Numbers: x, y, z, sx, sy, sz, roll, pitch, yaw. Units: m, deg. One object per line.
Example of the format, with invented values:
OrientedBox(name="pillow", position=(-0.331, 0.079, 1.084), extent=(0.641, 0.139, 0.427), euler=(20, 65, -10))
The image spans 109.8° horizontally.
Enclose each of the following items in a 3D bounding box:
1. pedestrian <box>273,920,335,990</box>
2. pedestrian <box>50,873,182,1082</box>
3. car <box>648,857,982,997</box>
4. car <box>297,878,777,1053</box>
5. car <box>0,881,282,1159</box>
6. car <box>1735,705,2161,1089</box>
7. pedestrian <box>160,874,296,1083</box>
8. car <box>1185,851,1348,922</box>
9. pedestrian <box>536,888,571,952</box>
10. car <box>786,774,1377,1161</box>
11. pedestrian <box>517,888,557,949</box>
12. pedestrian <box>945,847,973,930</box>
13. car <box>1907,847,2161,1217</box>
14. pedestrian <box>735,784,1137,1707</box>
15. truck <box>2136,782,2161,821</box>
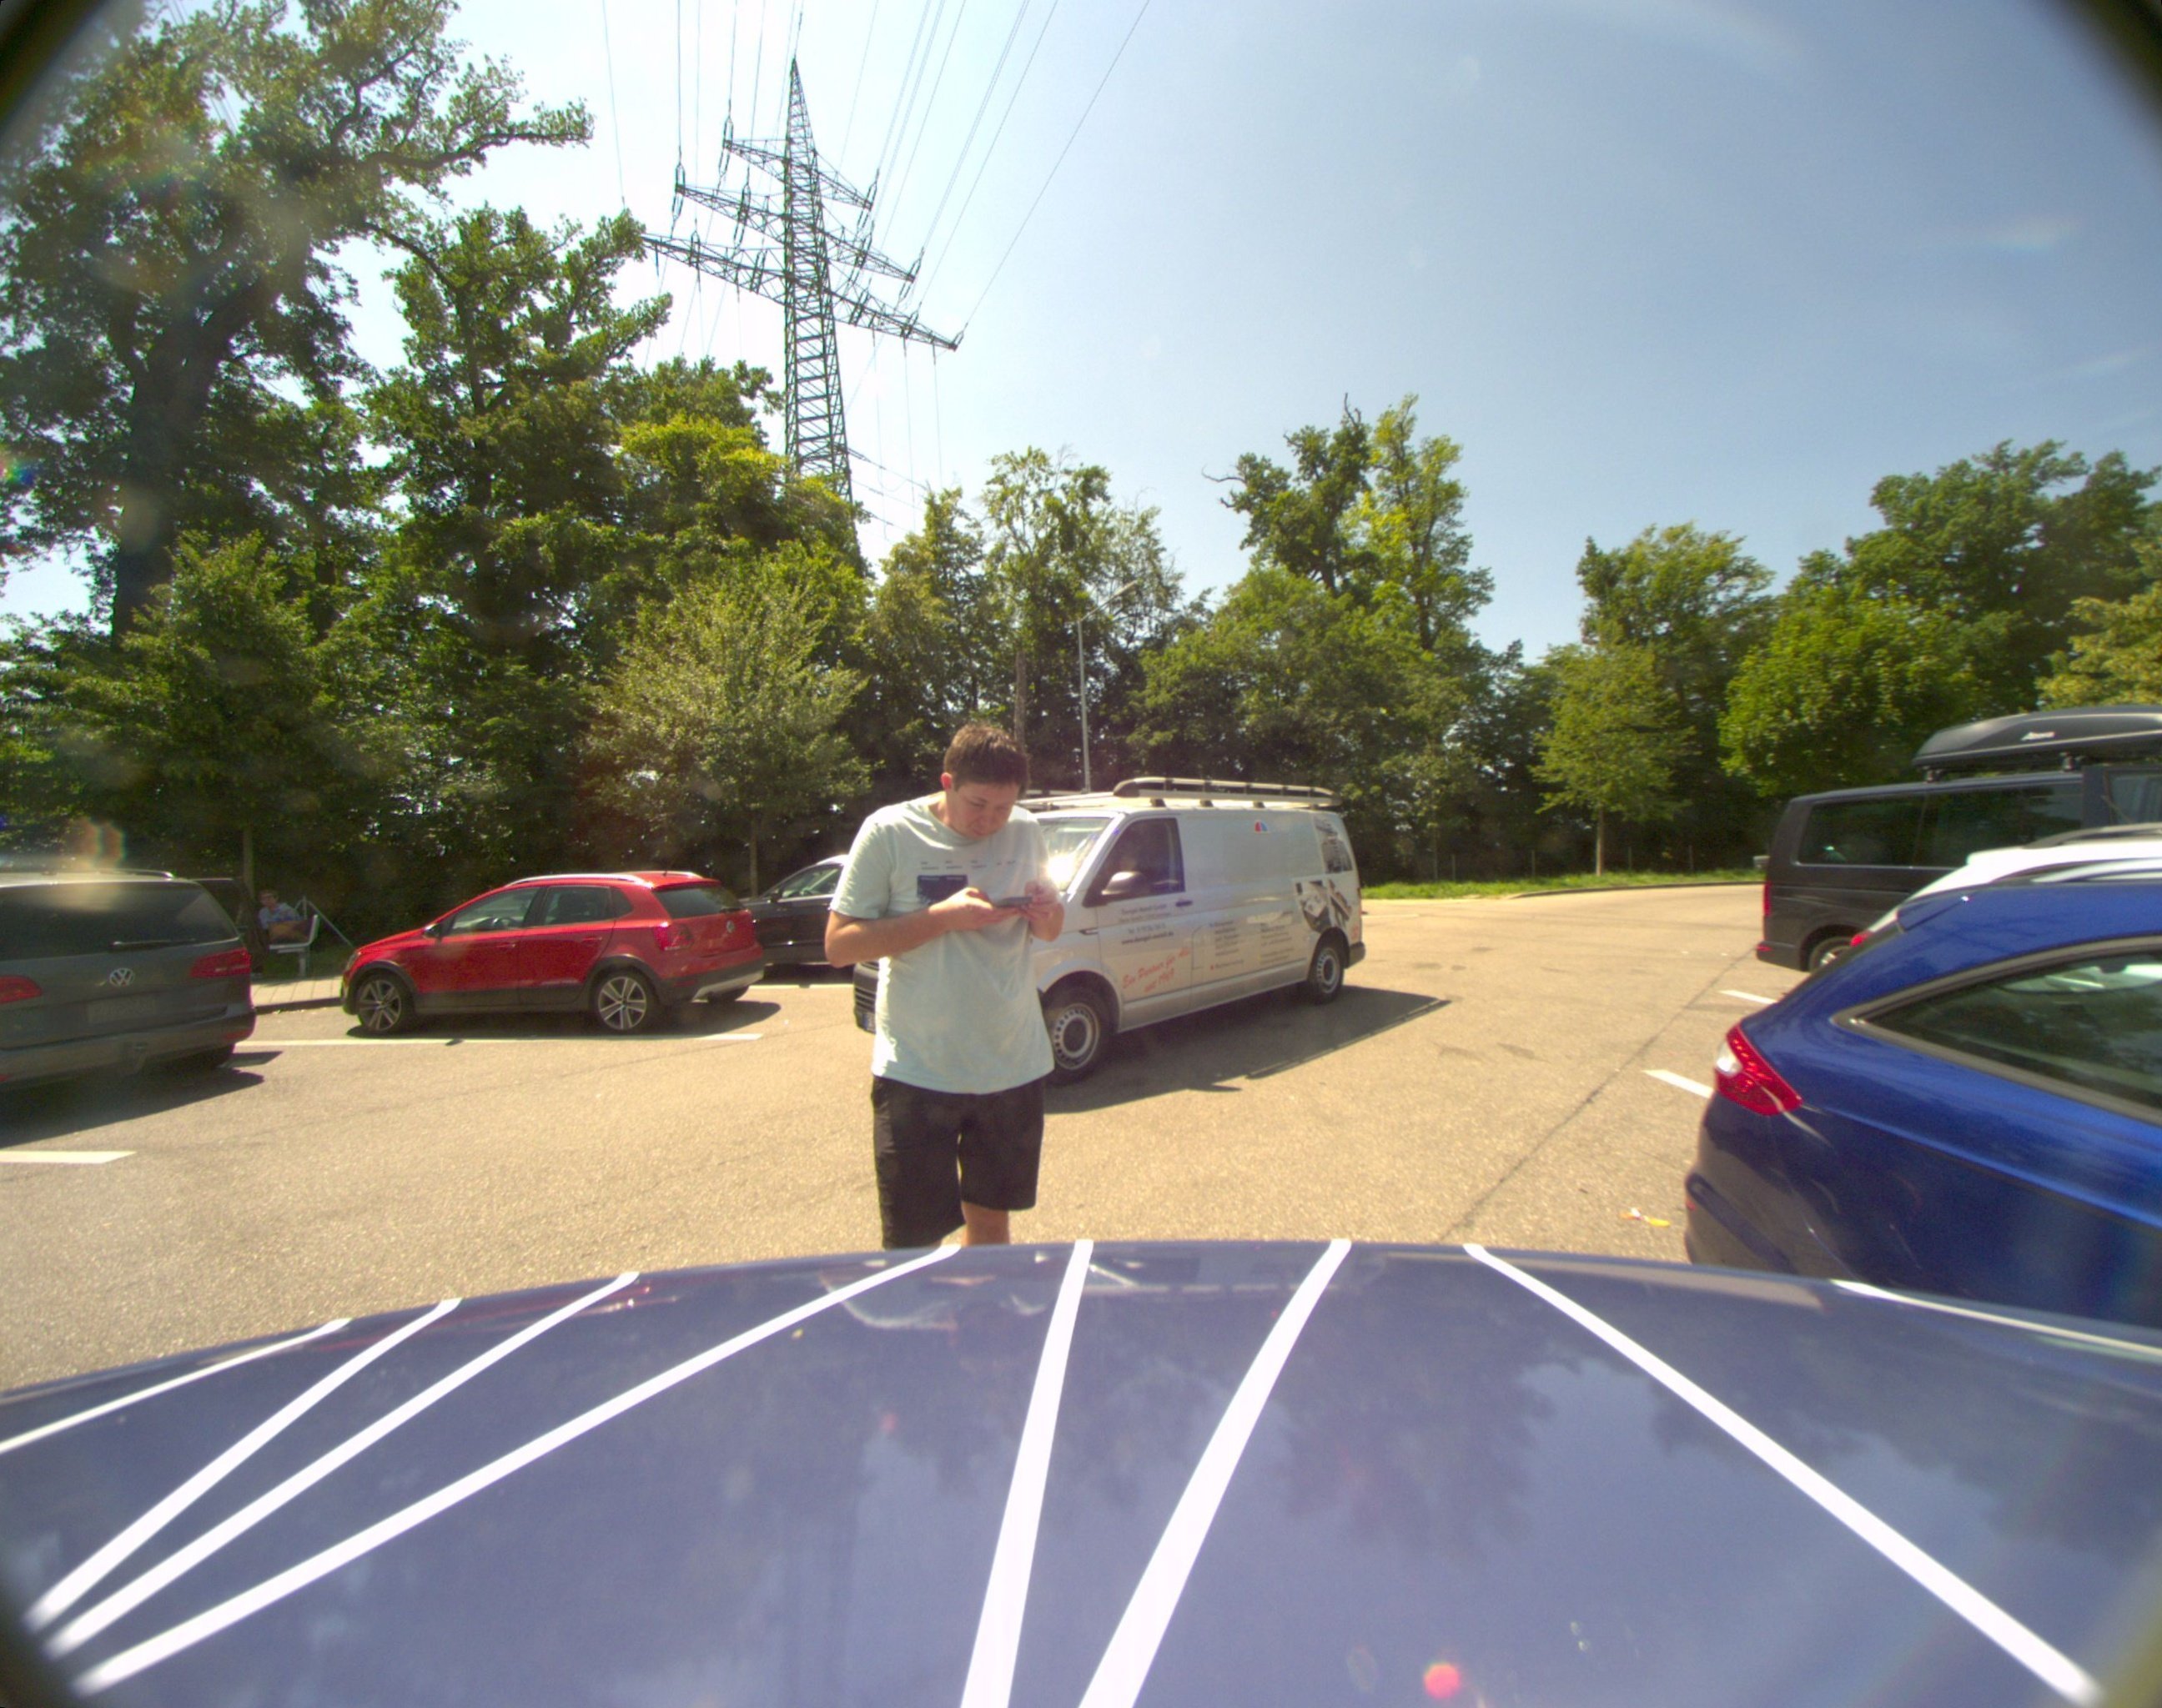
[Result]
OrientedBox(name="pedestrian", position=(-10.793, 1.385, 10.567), extent=(0.503, 0.874, 0.512), euler=(-3, 1, -39))
OrientedBox(name="pedestrian", position=(-8.355, 1.040, 6.592), extent=(0.436, 1.712, 0.511), euler=(-2, 1, 17))
OrientedBox(name="car", position=(-3.411, 0.919, 10.278), extent=(3.866, 1.607, 1.709), euler=(-2, 0, 0))
OrientedBox(name="car", position=(-5.268, 1.046, 7.621), extent=(3.745, 1.458, 1.621), euler=(-2, 0, 7))
OrientedBox(name="car", position=(-8.343, 1.098, 5.442), extent=(3.903, 1.607, 1.705), euler=(-2, 1, 11))
OrientedBox(name="car", position=(7.299, 0.243, 5.233), extent=(1.788, 2.304, 4.084), euler=(-2, 0, -5))
OrientedBox(name="pedestrian", position=(-7.453, 1.047, 6.653), extent=(0.481, 1.712, 0.589), euler=(-2, 1, 22))
OrientedBox(name="car", position=(4.312, 0.743, 18.134), extent=(3.585, 1.493, 1.707), euler=(-2, 1, 8))
OrientedBox(name="pedestrian", position=(-10.117, 1.265, 14.581), extent=(0.366, 1.186, 0.356), euler=(-2, 1, 21))
OrientedBox(name="car", position=(0.504, 0.578, 6.676), extent=(5.445, 2.092, 1.839), euler=(-2, 1, -45))
OrientedBox(name="pedestrian", position=(-11.015, 1.292, 15.378), extent=(0.413, 1.186, 0.443), euler=(-2, 1, 12))
OrientedBox(name="pedestrian", position=(-2.931, 0.807, 18.190), extent=(0.573, 1.942, 0.430), euler=(-2, 0, -11))
OrientedBox(name="car", position=(4.688, 0.655, 2.133), extent=(1.344, 1.352, 3.114), euler=(-2, 0, 1))
OrientedBox(name="pedestrian", position=(-0.373, 0.777, 1.889), extent=(0.741, 1.818, 0.613), euler=(-2, 0, -34))
OrientedBox(name="truck", position=(40.225, -1.975, 27.054), extent=(1.168, 1.367, 2.882), euler=(-2, -1, -19))
